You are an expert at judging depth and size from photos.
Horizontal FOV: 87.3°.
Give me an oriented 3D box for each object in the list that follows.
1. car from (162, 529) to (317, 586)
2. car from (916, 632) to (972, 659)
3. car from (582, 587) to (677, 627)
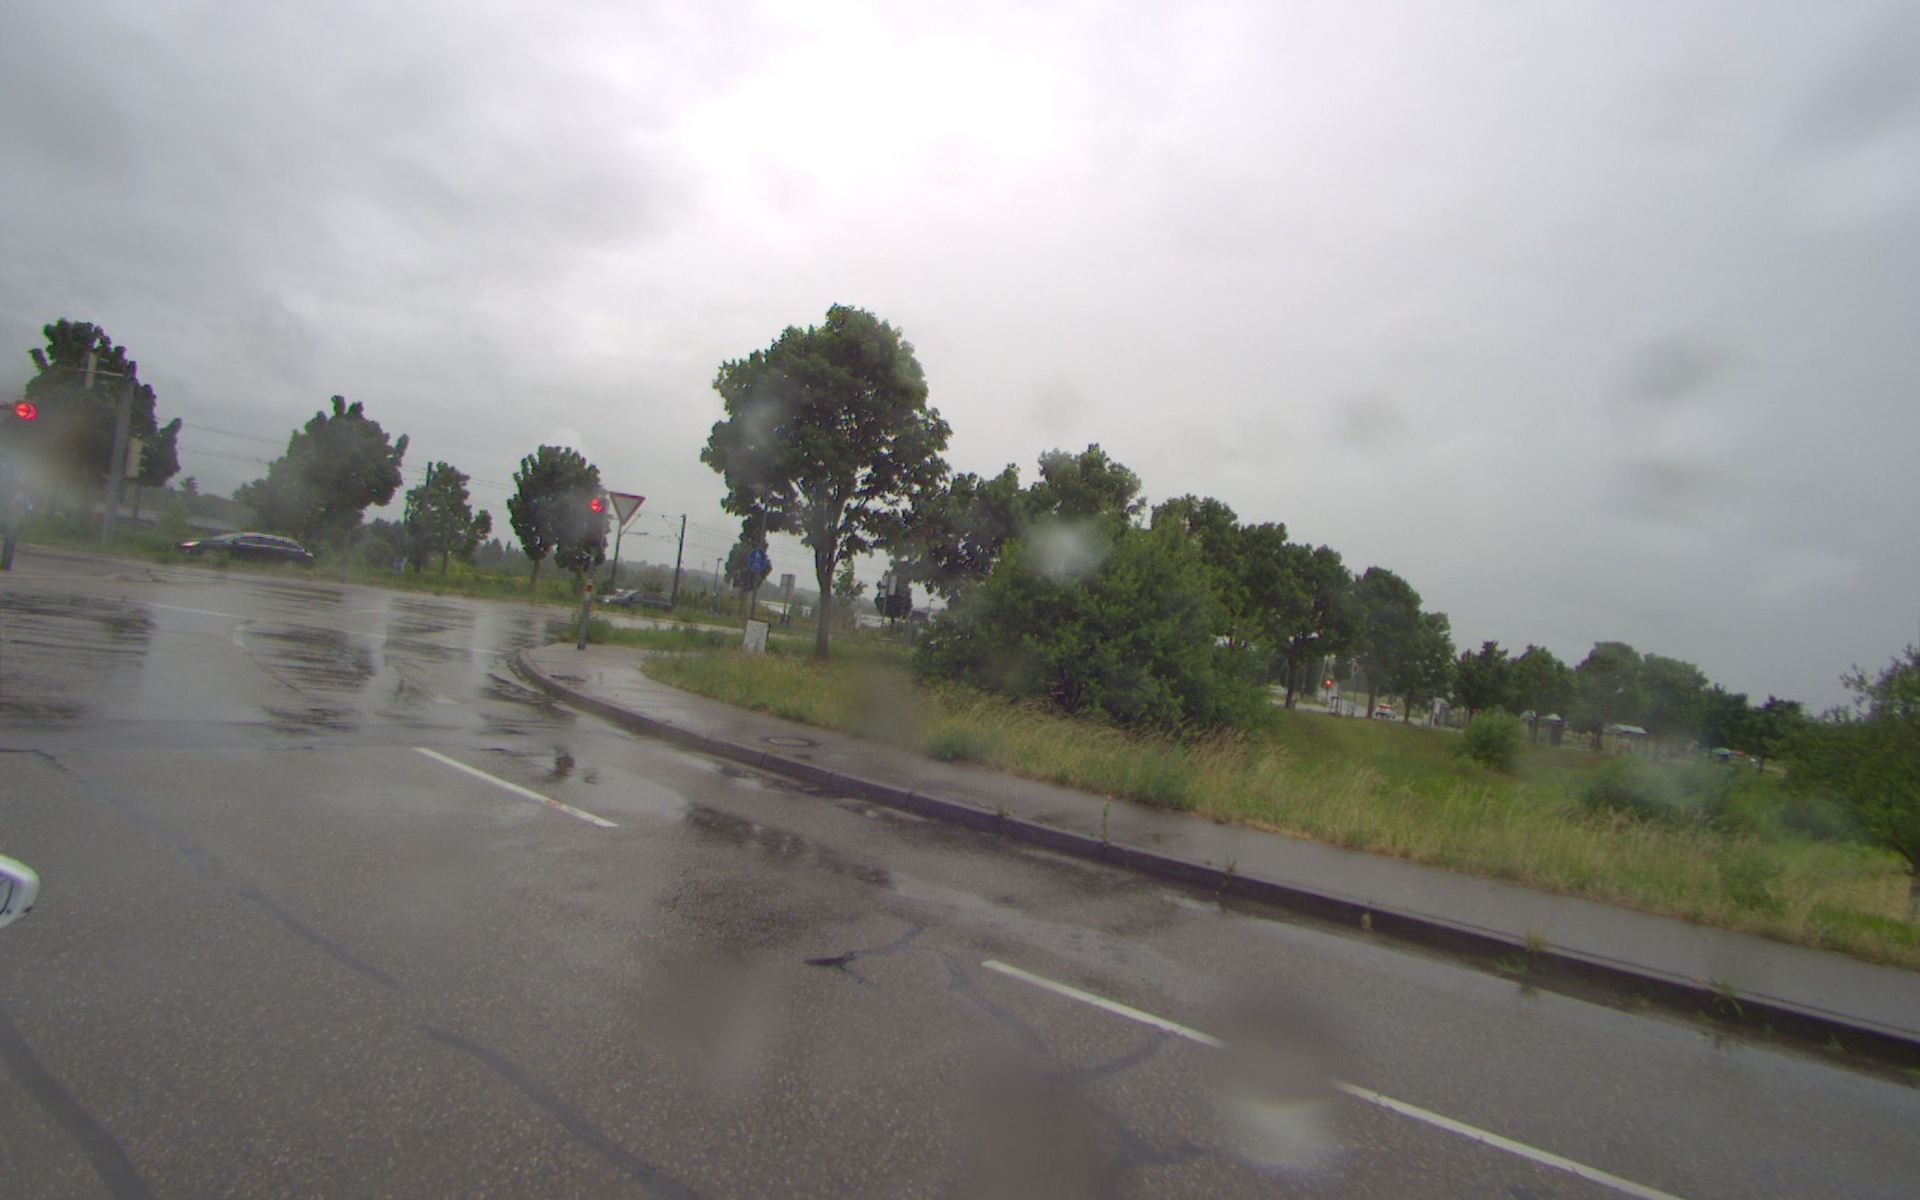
[{"bbox_3d":[-29.037,-1.671,40.679,1.793,1.572,4.674,7,-1,34],"label":"car"},{"bbox_3d":[-1.239,3.558,78.974,1.798,1.572,4.328,7,-1,43],"label":"car"},{"bbox_3d":[-18.125,0.406,55.348,1.796,1.572,4.668,7,-1,39],"label":"car"}]
